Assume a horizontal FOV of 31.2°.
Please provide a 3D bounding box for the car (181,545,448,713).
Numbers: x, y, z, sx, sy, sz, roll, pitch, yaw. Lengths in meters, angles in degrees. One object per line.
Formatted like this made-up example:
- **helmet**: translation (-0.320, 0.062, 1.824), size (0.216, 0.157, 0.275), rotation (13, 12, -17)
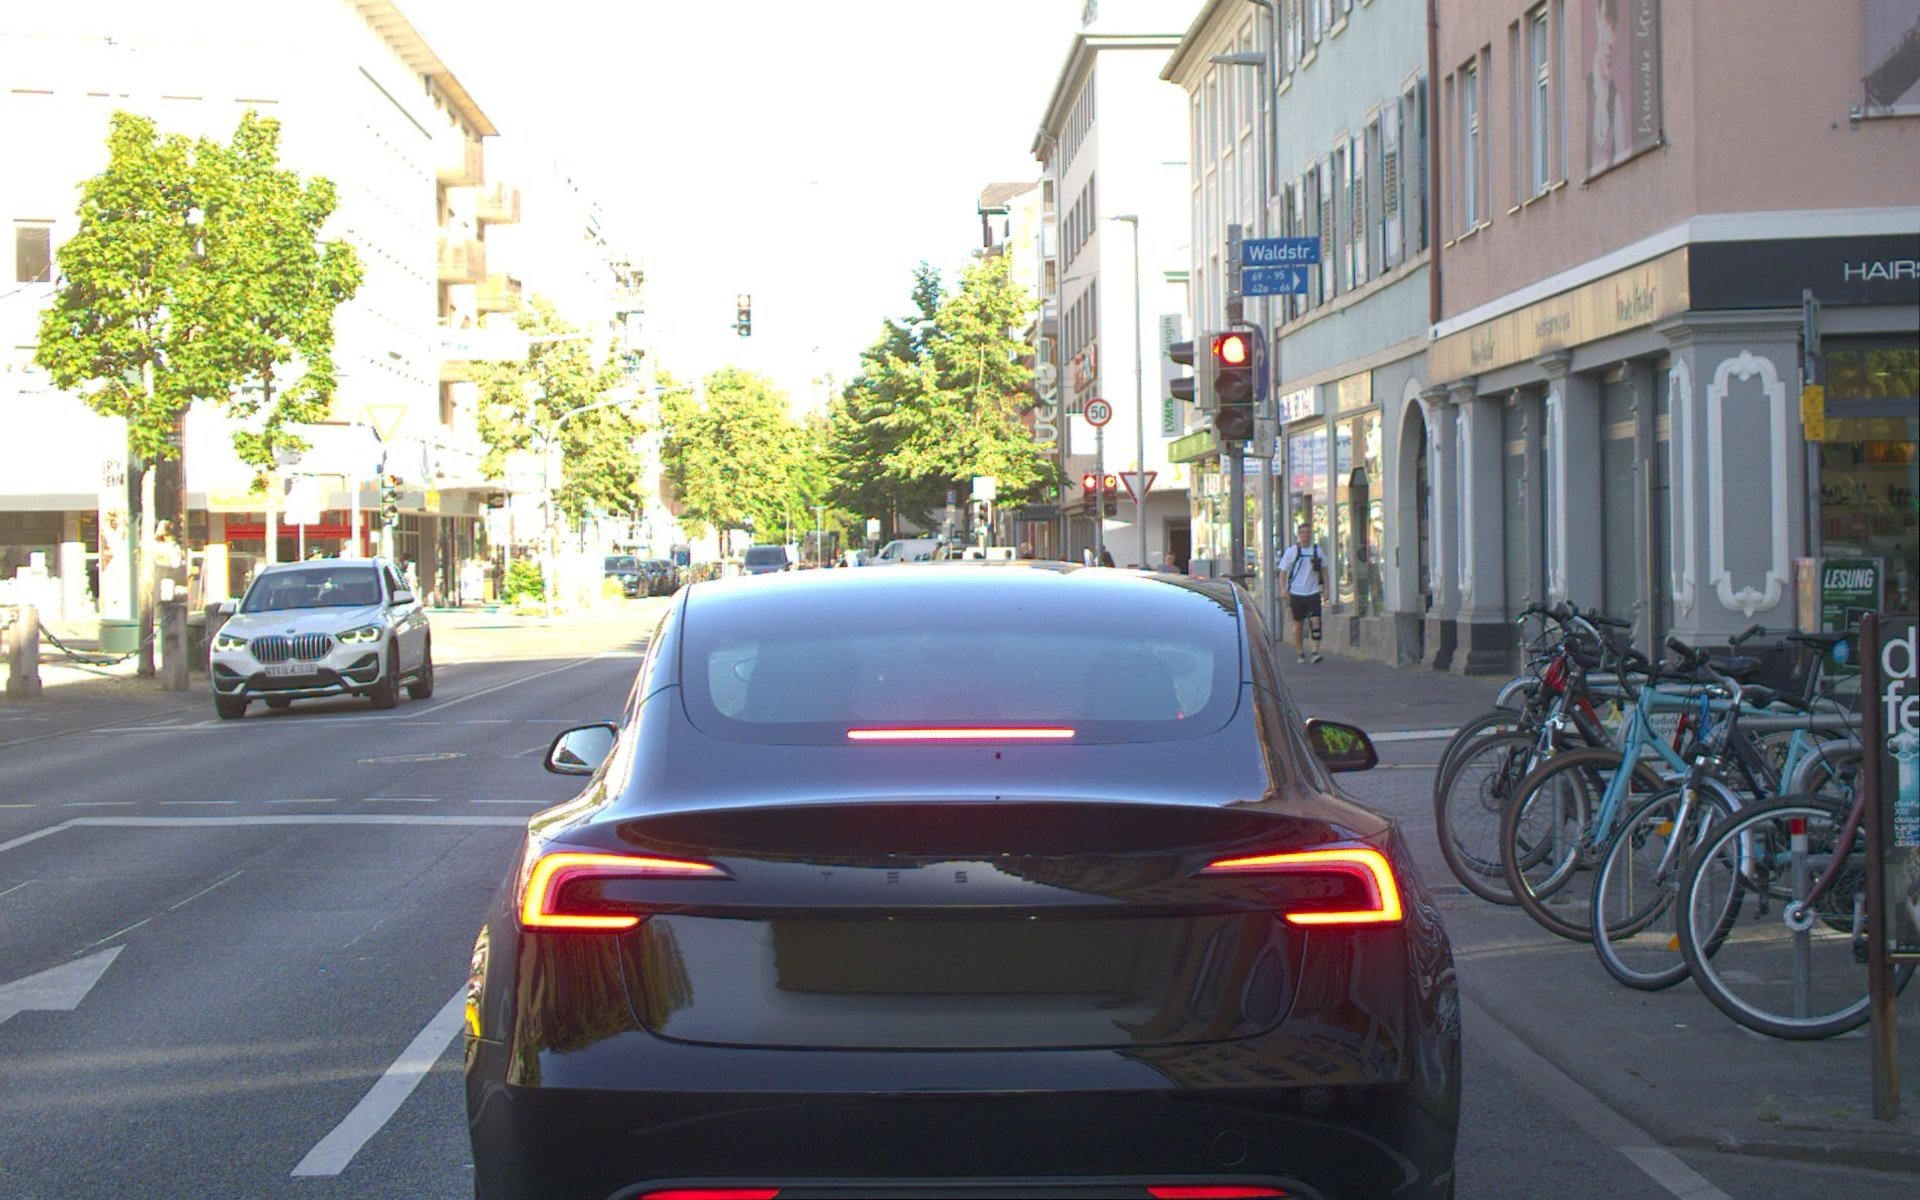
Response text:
- **car**: translation (-6.680, 0.251, 36.019), size (1.993, 1.535, 4.000), rotation (-4, 1, -1)

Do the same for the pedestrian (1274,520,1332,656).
- **pedestrian**: translation (4.518, -0.157, 45.260), size (0.704, 1.777, 0.533), rotation (0, 1, -1)

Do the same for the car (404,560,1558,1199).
- **car**: translation (0.039, 0.647, 7.411), size (1.850, 1.450, 3.786), rotation (0, 1, 0)

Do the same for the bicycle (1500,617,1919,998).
- **bicycle**: translation (2.628, 0.659, 11.201), size (1.627, 1.156, 0.433), rotation (-2, 1, -1)

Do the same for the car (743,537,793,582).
- **car**: translation (-7.335, -1.561, 131.395), size (1.829, 1.718, 4.000), rotation (0, 1, -2)

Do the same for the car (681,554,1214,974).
- **car**: translation (-0.037, 0.544, 13.827), size (1.850, 1.450, 3.786), rotation (0, 1, 0)

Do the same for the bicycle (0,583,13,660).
- **bicycle**: translation (-14.919, 0.306, 49.980), size (2.082, 1.100, 0.806), rotation (0, 1, -1)

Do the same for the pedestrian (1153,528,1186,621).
- **pedestrian**: translation (3.810, -0.460, 62.575), size (0.570, 1.685, 0.387), rotation (0, 1, -1)

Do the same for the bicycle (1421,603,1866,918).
- **bicycle**: translation (2.683, 0.624, 13.561), size (1.627, 1.156, 0.433), rotation (-2, 1, -1)

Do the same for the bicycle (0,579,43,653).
- **bicycle**: translation (-15.058, 0.235, 52.173), size (2.082, 1.100, 0.806), rotation (0, 1, -1)

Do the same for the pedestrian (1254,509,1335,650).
- **pedestrian**: translation (4.400, -0.269, 45.234), size (0.999, 1.844, 0.615), rotation (0, 1, -1)

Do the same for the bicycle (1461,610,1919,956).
- **bicycle**: translation (2.669, 0.649, 12.374), size (1.627, 1.156, 0.433), rotation (-2, 1, -1)

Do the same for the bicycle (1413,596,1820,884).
- **bicycle**: translation (2.807, 0.594, 14.763), size (1.628, 1.156, 0.433), rotation (-2, 1, 1)
